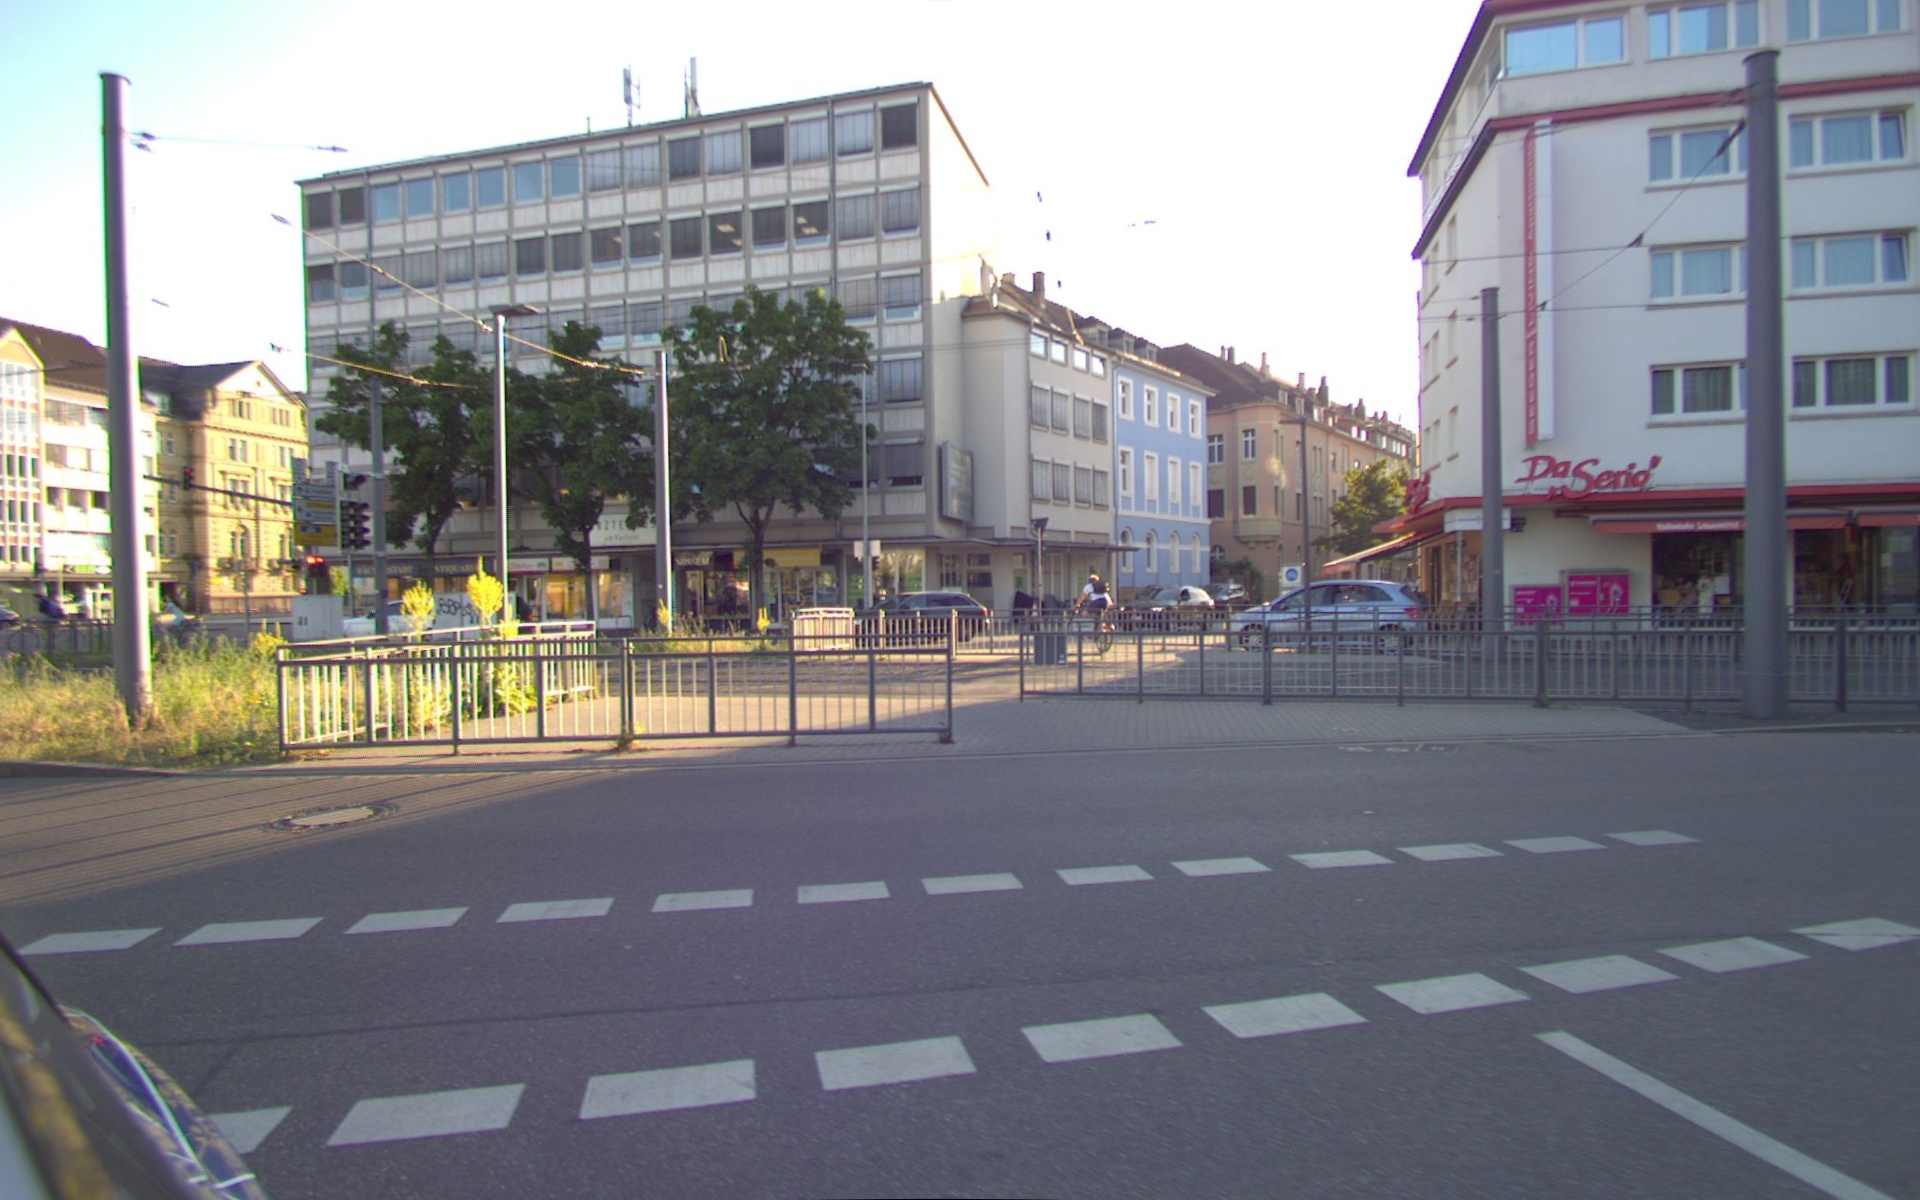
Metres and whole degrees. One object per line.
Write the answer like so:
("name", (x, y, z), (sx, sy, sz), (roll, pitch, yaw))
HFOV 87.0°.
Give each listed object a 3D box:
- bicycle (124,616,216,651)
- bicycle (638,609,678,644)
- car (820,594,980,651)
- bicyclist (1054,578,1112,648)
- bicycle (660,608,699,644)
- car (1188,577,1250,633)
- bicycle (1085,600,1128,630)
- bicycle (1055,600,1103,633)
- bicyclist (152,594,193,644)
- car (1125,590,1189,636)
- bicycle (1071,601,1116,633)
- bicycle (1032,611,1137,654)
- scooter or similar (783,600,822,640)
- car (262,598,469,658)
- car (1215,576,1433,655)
("bicycle", (-22.181, 0.928, 28.442), (1.922, 0.937, 0.726), (-1, 0, -13))
("bicycle", (-10.496, 0.906, 35.231), (0.659, 1.148, 1.742), (-1, 1, 7))
("car", (-1.649, 0.591, 28.696), (4.301, 1.446, 1.741), (-1, 1, -37))
("bicyclist", (2.636, 0.263, 21.753), (0.821, 1.452, 0.933), (-1, 0, -35))
("bicycle", (-9.620, 0.881, 34.759), (0.533, 1.194, 1.630), (-1, 1, 14))
("car", (9.965, 0.167, 38.728), (1.984, 2.029, 3.975), (-1, 0, 19))
("bicycle", (6.023, 0.612, 41.739), (1.681, 1.195, 0.480), (2, 1, 32))
("bicycle", (4.681, 0.647, 39.924), (1.775, 1.195, 0.548), (2, 1, 32))
("bicyclist", (-22.134, 0.534, 28.461), (0.673, 1.380, 0.718), (-1, 0, -13))
("car", (7.274, 0.444, 37.041), (1.870, 1.586, 4.226), (-1, 0, 17))
("bicycle", (5.384, 0.664, 40.723), (1.712, 1.195, 0.534), (2, 1, 32))
("bicycle", (2.636, 0.672, 21.761), (0.832, 0.853, 2.429), (-1, 0, -35))
("scooter or similar", (-5.312, 0.672, 34.179), (0.515, 1.332, 1.262), (-1, 0, 44))
("car", (-15.840, 0.740, 27.065), (4.612, 1.451, 2.033), (-1, 1, 12))
("car", (7.882, 0.309, 21.992), (4.254, 1.571, 2.188), (-1, 1, 24))
